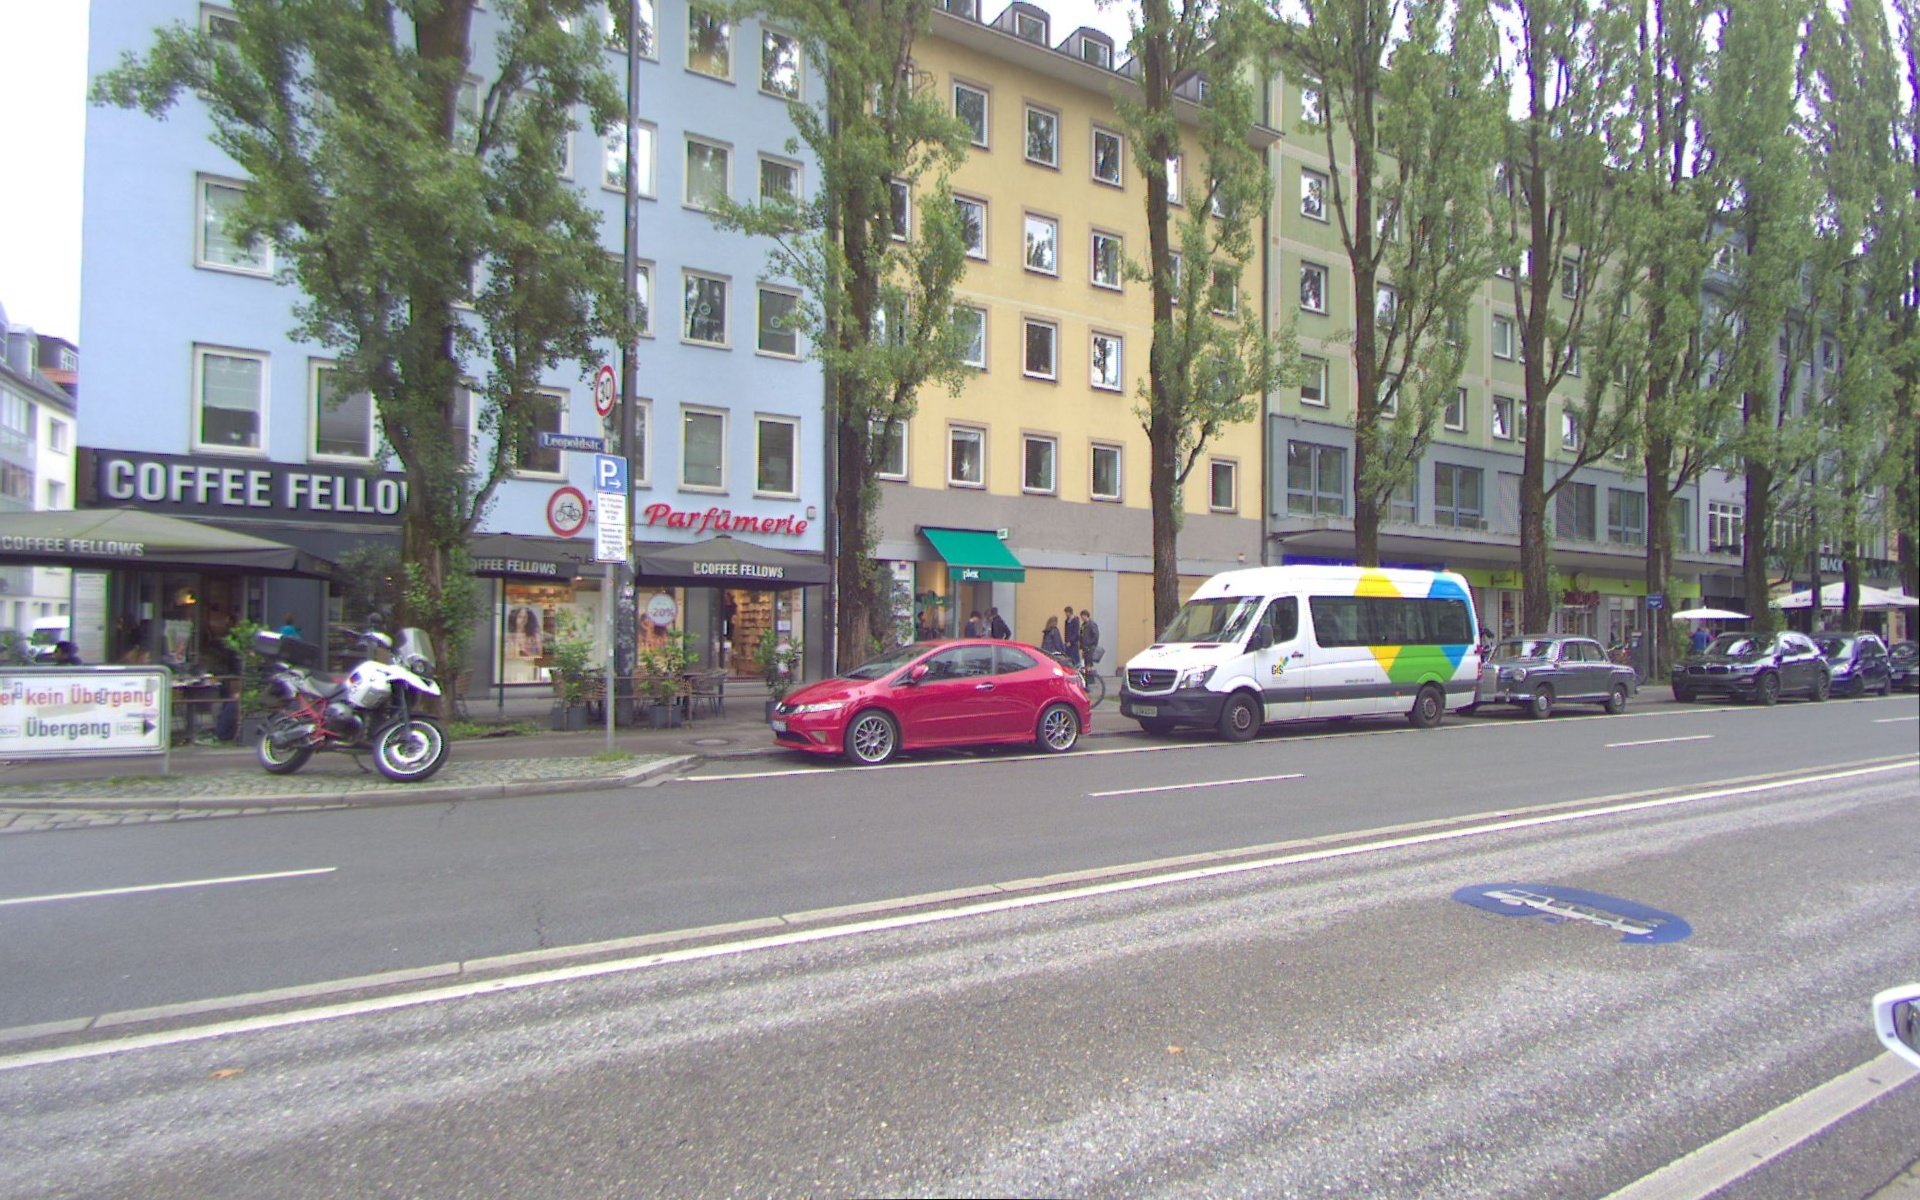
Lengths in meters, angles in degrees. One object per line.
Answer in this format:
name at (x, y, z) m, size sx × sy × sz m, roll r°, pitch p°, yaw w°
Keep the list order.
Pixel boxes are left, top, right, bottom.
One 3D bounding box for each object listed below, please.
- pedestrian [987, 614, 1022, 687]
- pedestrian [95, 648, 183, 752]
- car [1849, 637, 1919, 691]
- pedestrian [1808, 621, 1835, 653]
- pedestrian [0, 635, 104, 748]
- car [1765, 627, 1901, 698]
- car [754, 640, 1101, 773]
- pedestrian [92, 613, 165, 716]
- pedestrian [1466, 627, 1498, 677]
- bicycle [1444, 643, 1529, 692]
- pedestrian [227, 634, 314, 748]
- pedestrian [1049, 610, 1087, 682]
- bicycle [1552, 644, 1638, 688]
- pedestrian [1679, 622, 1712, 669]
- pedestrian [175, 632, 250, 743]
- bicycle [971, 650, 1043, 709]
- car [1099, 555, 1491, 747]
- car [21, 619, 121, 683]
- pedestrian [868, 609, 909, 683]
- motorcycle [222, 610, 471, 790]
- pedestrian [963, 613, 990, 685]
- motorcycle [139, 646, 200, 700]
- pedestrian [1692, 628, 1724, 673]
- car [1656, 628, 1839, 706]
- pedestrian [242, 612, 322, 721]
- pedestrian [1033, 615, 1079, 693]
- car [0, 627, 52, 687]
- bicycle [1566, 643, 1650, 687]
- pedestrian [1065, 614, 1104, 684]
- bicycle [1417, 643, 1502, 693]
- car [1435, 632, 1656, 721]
pedestrian at (1.009, 1.153, 22.999) m, size 0.713 × 1.657 × 0.699 m, roll 0°, pitch -2°, yaw -6°
pedestrian at (-9.994, 1.192, 12.255) m, size 0.692 × 1.198 × 0.811 m, roll 1°, pitch -2°, yaw -31°
car at (28.022, 1.840, 29.365) m, size 4.299 × 1.508 × 1.790 m, roll 1°, pitch -3°, yaw -30°
pedestrian at (40.424, 1.730, 47.144) m, size 0.792 × 1.428 × 0.760 m, roll 2°, pitch 0°, yaw -35°
pedestrian at (-11.588, 1.142, 12.849) m, size 0.808 × 1.380 × 0.695 m, roll 1°, pitch -2°, yaw -27°
car at (23.259, 1.634, 26.730) m, size 3.880 × 1.743 × 1.700 m, roll 1°, pitch -3°, yaw -33°
car at (-0.365, 1.242, 12.722) m, size 4.100 × 1.438 × 1.729 m, roll 1°, pitch -3°, yaw -30°
pedestrian at (-14.903, 1.135, 18.006) m, size 0.933 × 1.796 × 0.699 m, roll -1°, pitch -2°, yaw 30°
pedestrian at (18.089, 1.802, 34.805) m, size 0.749 × 1.708 × 0.670 m, roll 2°, pitch -3°, yaw -29°
bicycle at (13.615, 1.725, 26.040) m, size 0.710 × 1.110 × 1.862 m, roll 1°, pitch 1°, yaw -27°
pedestrian at (-8.711, 1.128, 12.729) m, size 0.838 × 1.380 × 0.694 m, roll 1°, pitch -2°, yaw -31°
pedestrian at (2.754, 1.169, 25.652) m, size 0.717 × 1.818 × 0.695 m, roll 1°, pitch -2°, yaw -25°
bicycle at (18.225, 1.865, 28.866) m, size 0.712 × 1.110 × 1.933 m, roll 1°, pitch 1°, yaw -36°
pedestrian at (27.507, 1.700, 37.570) m, size 0.667 × 1.708 × 0.753 m, roll 2°, pitch -3°, yaw -29°
pedestrian at (-9.673, 1.105, 13.019) m, size 0.692 × 1.380 × 0.709 m, roll 1°, pitch -2°, yaw -32°
bicycle at (0.864, 1.469, 18.934) m, size 0.416 × 1.040 × 1.764 m, roll 1°, pitch -2°, yaw -32°
car at (5.563, 0.796, 16.213) m, size 6.831 × 2.601 × 1.996 m, roll 1°, pitch -3°, yaw -30°
car at (-35.301, 2.019, 40.029) m, size 1.959 × 2.396 × 4.554 m, roll 1°, pitch -3°, yaw -29°
pedestrian at (-1.637, 1.046, 22.995) m, size 0.718 × 1.657 × 0.695 m, roll 1°, pitch -2°, yaw -28°
motorcycle at (-5.944, 0.910, 9.733) m, size 2.301 × 1.584 × 0.715 m, roll 1°, pitch -1°, yaw 18°
pedestrian at (0.385, 1.128, 23.287) m, size 0.553 × 1.657 × 0.699 m, roll 0°, pitch -2°, yaw -6°
motorcycle at (-19.707, 1.784, 25.093) m, size 0.729 × 1.219 × 2.748 m, roll -1°, pitch -1°, yaw -28°
pedestrian at (28.699, 1.937, 38.552) m, size 0.667 × 1.708 × 0.753 m, roll 2°, pitch -3°, yaw -29°
car at (18.743, 1.545, 23.859) m, size 4.557 × 1.686 × 1.858 m, roll 1°, pitch -3°, yaw -30°
pedestrian at (-10.732, 1.037, 15.928) m, size 0.938 × 1.668 × 0.695 m, roll 1°, pitch -2°, yaw -28°
pedestrian at (2.156, 1.196, 22.588) m, size 0.775 × 1.708 × 0.753 m, roll 1°, pitch -2°, yaw -27°
car at (-30.428, 1.791, 31.377) m, size 2.093 × 1.789 × 4.551 m, roll 1°, pitch -3°, yaw -30°
bicycle at (18.902, 1.882, 29.338) m, size 0.712 × 1.110 × 1.933 m, roll 1°, pitch 1°, yaw -36°
pedestrian at (3.086, 1.216, 24.991) m, size 0.717 × 1.722 × 0.695 m, roll 1°, pitch -2°, yaw -25°
bicycle at (12.595, 1.705, 25.400) m, size 0.710 × 1.110 × 1.862 m, roll 1°, pitch 1°, yaw -27°
car at (11.575, 1.446, 19.816) m, size 4.362 × 1.572 × 1.858 m, roll 1°, pitch -3°, yaw -30°
